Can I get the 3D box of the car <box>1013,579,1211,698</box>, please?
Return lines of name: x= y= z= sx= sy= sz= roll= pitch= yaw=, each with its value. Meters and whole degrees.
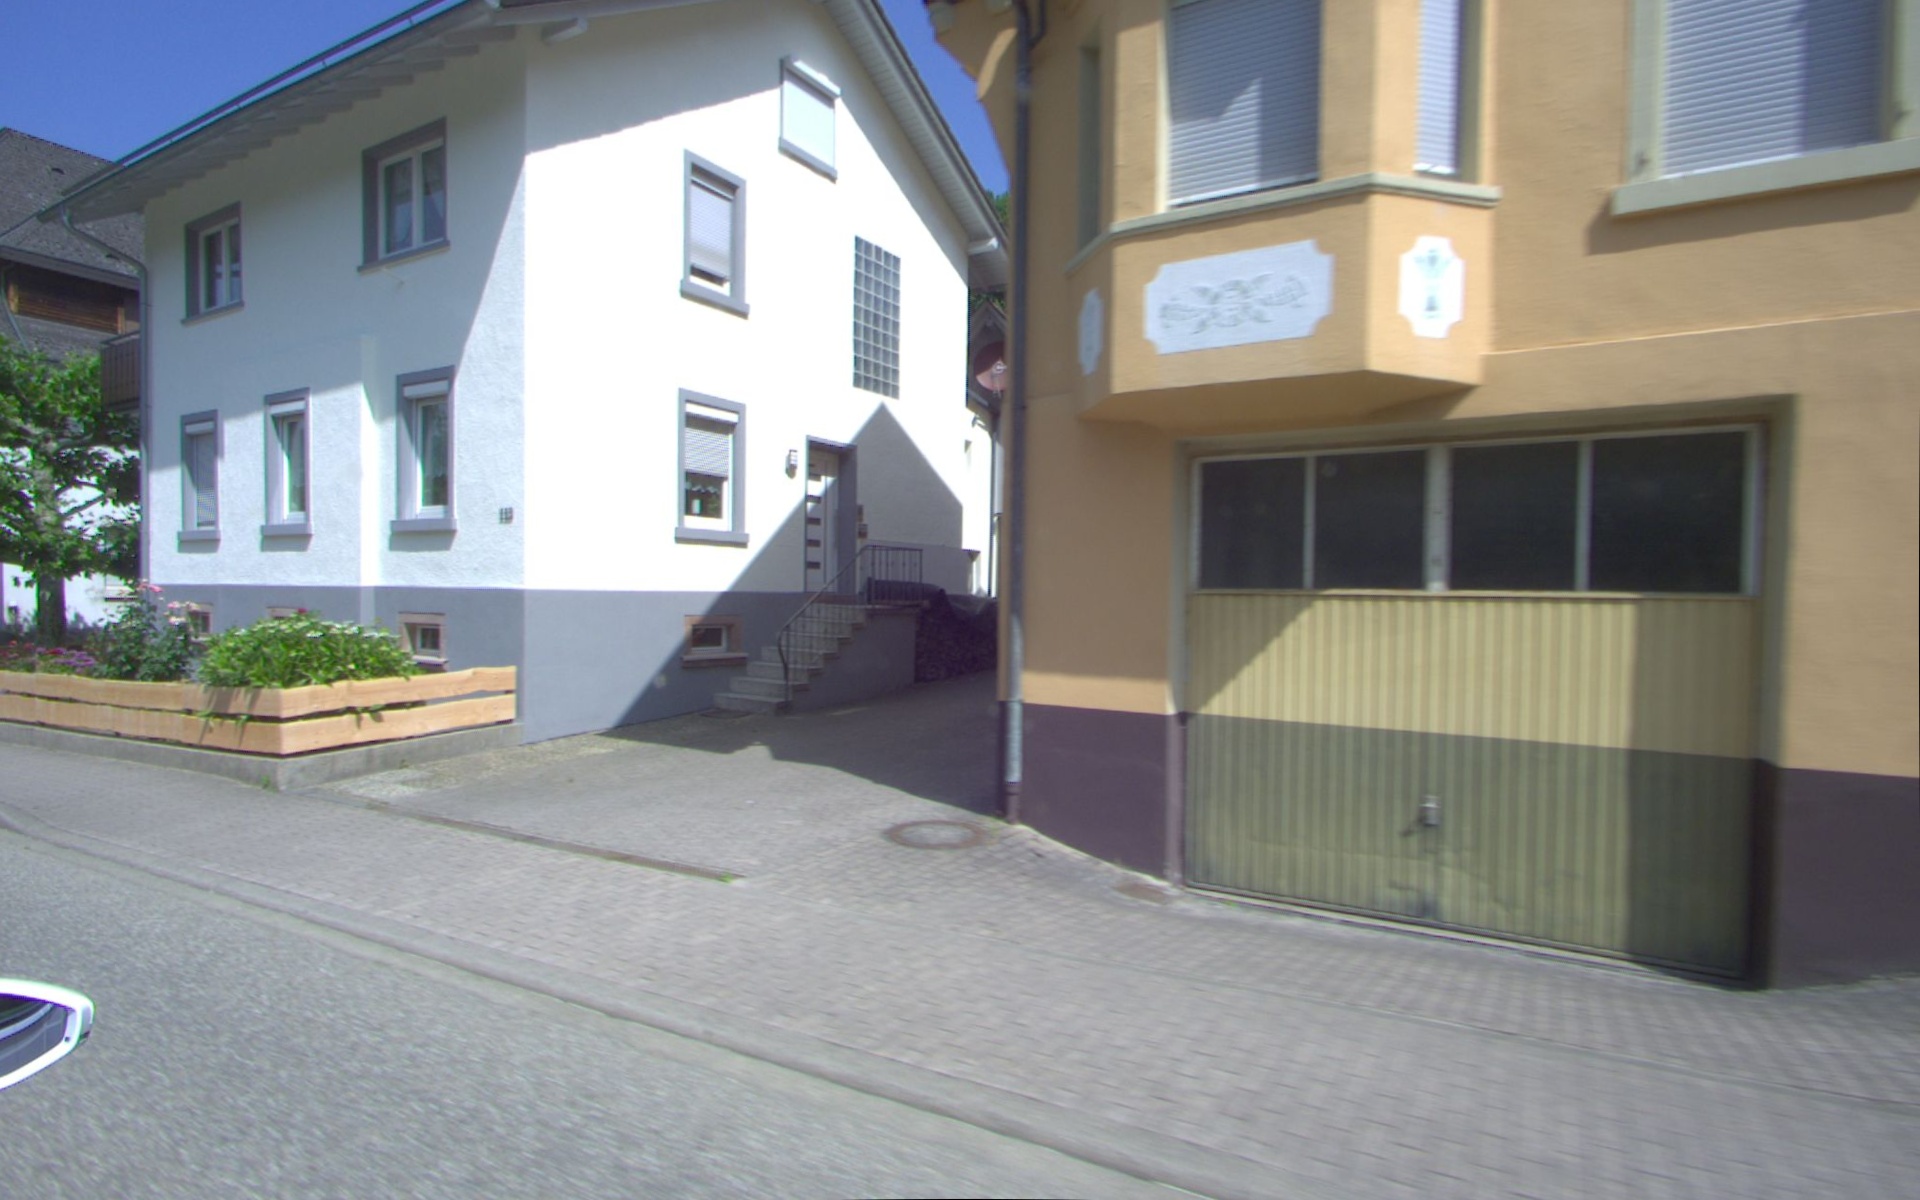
car: x=2.361 y=0.478 z=14.718 sx=1.572 sy=1.395 sz=3.804 roll=-2 pitch=2 yaw=30
